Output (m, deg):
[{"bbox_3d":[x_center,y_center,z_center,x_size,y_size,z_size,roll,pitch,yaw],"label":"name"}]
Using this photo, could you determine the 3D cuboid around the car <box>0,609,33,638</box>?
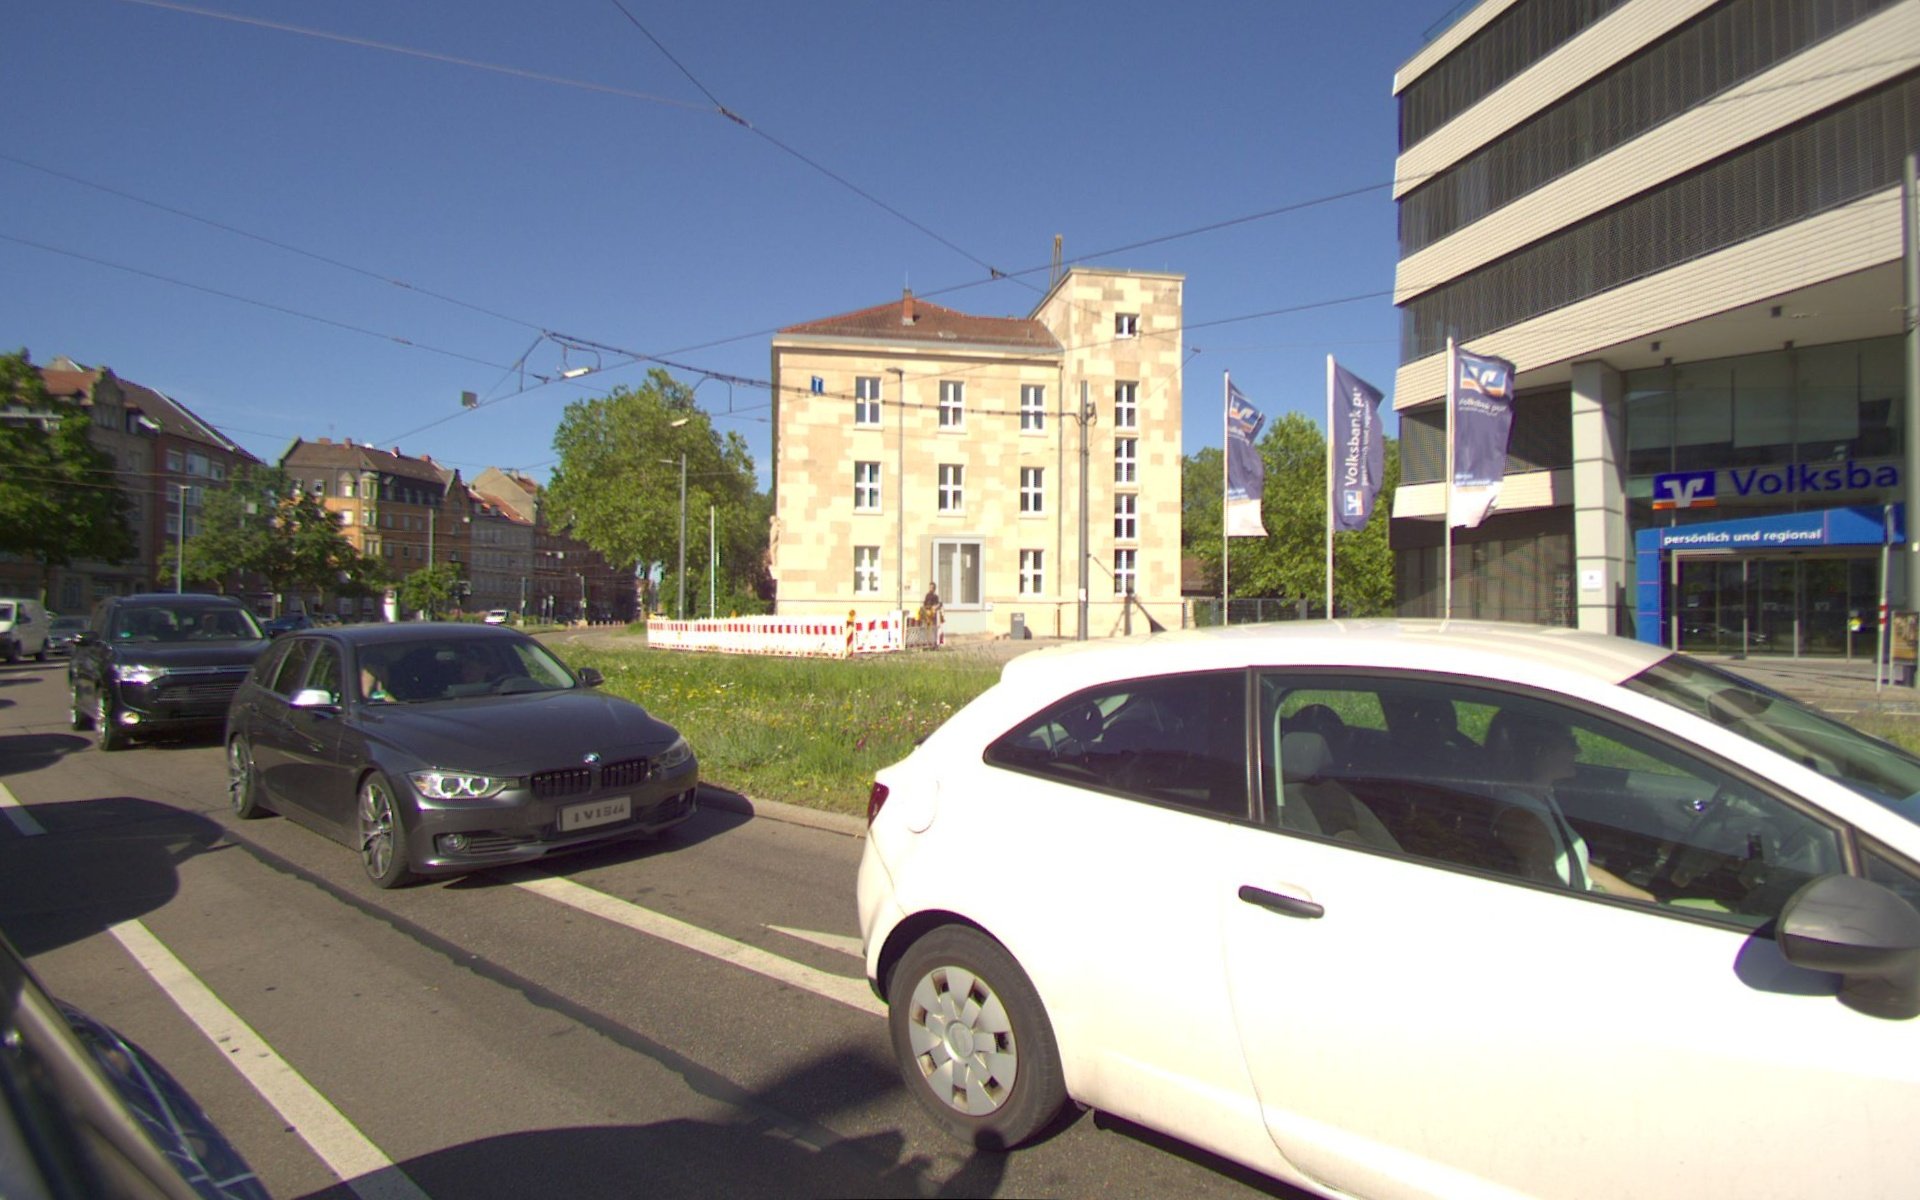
[{"bbox_3d":[-48.766,1.152,50.389,3.768,1.390,1.602,2,-2,-41],"label":"car"}]

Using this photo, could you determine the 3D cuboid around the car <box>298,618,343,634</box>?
[{"bbox_3d":[-71.509,2.900,113.172,3.931,1.663,1.868,-1,0,-18],"label":"car"}]

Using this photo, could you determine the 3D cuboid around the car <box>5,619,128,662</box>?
[{"bbox_3d":[-32.817,1.448,37.342,1.809,1.483,4.728,1,-1,-20],"label":"car"}]

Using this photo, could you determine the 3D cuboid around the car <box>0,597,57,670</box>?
[{"bbox_3d":[-29.627,0.980,31.013,1.949,2.101,4.727,2,-1,-30],"label":"car"}]

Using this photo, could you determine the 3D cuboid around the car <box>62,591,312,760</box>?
[{"bbox_3d":[-9.381,0.774,12.135,1.817,1.658,4.400,-1,-1,-45],"label":"car"}]

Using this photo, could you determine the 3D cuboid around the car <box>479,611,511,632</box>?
[{"bbox_3d":[-45.520,2.069,99.168,1.967,1.889,4.602,-1,0,-13],"label":"car"}]

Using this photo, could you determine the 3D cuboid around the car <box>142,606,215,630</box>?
[{"bbox_3d":[-53.933,1.275,69.877,3.771,1.603,1.601,2,-2,-44],"label":"car"}]

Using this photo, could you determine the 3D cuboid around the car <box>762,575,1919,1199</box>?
[{"bbox_3d":[1.481,0.696,2.485,4.020,1.452,1.714,0,2,40],"label":"car"}]

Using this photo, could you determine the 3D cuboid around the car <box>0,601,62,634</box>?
[{"bbox_3d":[-49.931,0.892,52.796,4.514,1.680,1.601,2,-2,-43],"label":"car"}]

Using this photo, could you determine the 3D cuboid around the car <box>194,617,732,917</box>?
[{"bbox_3d":[-3.599,0.828,6.884,4.424,1.377,1.719,-1,0,41],"label":"car"}]

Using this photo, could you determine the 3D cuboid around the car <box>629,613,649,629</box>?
[{"bbox_3d":[-34.194,2.213,107.829,1.795,1.658,4.193,0,-1,-13],"label":"car"}]

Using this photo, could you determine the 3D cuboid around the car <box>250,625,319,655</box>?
[{"bbox_3d":[-39.308,2.294,59.015,1.811,1.659,4.157,1,-1,-10],"label":"car"}]
